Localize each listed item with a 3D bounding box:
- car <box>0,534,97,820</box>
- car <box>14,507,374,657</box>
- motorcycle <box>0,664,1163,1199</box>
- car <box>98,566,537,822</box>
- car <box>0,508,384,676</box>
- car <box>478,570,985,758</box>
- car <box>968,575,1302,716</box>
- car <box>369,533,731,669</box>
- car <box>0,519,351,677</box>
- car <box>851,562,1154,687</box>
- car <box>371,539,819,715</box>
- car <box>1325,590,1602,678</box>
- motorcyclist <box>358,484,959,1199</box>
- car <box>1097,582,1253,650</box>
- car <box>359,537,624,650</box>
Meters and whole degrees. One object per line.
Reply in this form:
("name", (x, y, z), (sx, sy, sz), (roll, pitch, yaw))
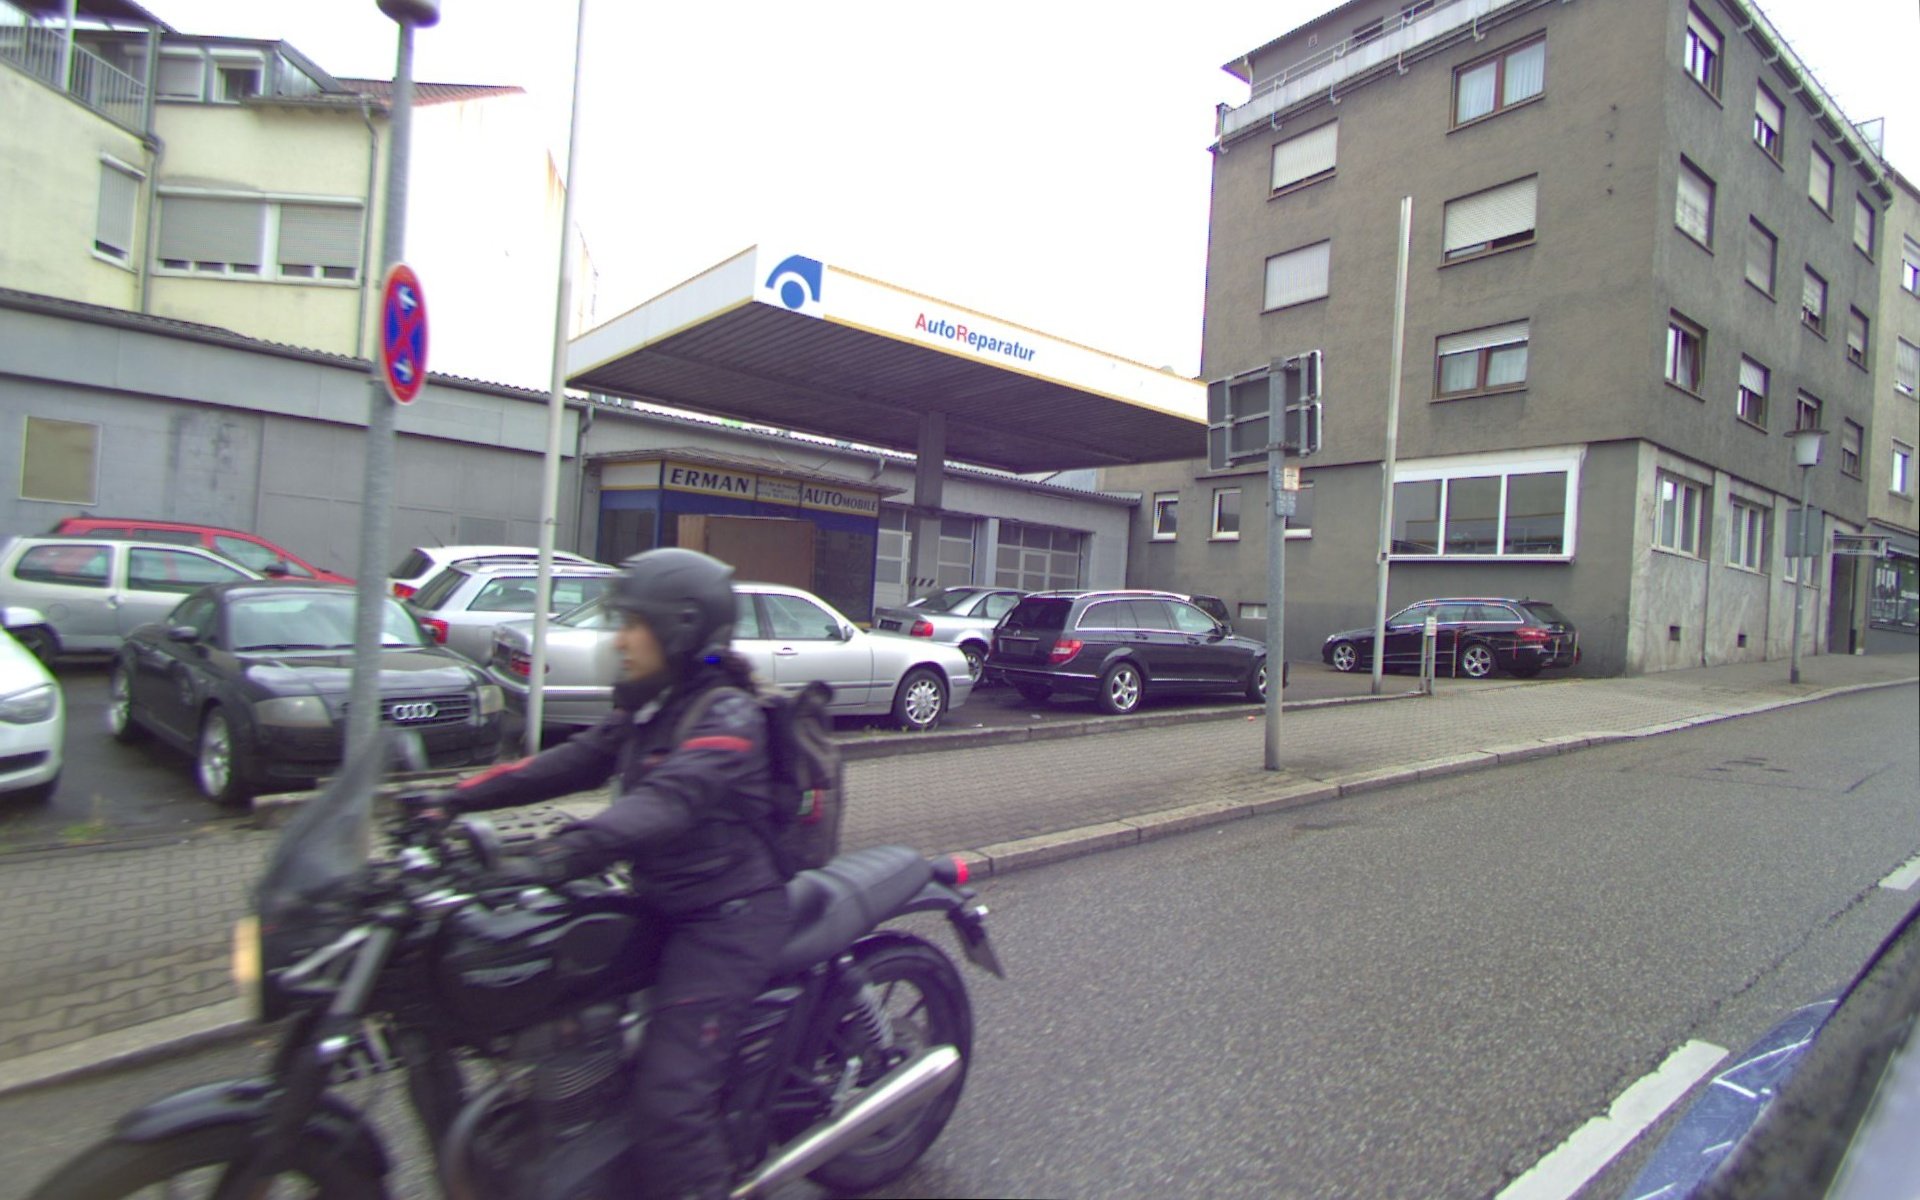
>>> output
("car", (-7.041, 0.351, 6.303), (3.978, 1.548, 1.740), (2, 2, 37))
("car", (-11.138, -0.260, 15.018), (4.029, 1.934, 1.794), (0, 1, -37))
("motorcycle", (-0.614, 0.824, 2.155), (2.333, 1.241, 0.845), (0, -1, -43))
("car", (-5.036, 0.492, 7.721), (3.980, 1.418, 1.648), (3, 2, 39))
("car", (-8.670, -0.128, 11.539), (3.453, 1.619, 1.795), (0, 4, -37))
("car", (-2.115, 0.494, 9.992), (4.527, 1.433, 1.795), (0, 2, -35))
("car", (2.379, 0.489, 13.202), (4.355, 1.530, 1.794), (0, 2, -37))
("car", (-5.599, -0.009, 14.072), (4.336, 1.620, 1.794), (0, 2, -37))
("car", (-10.098, -0.047, 12.867), (3.875, 1.752, 1.794), (0, 2, -37))
("car", (0.719, 0.360, 15.293), (4.336, 1.529, 1.795), (2, 4, -37))
("car", (-4.022, 0.276, 11.505), (4.407, 1.563, 1.795), (2, 4, -37))
("car", (9.745, 0.580, 19.944), (1.961, 1.523, 4.537), (0, 0, -33))
("motorcyclist", (-0.637, 0.636, 2.140), (0.946, 1.610, 0.845), (0, -1, -43))
("car", (5.571, 0.389, 26.611), (1.760, 1.472, 3.757), (3, 1, -35))
("car", (-8.067, -0.128, 17.559), (3.875, 1.752, 1.794), (0, 2, -37))
